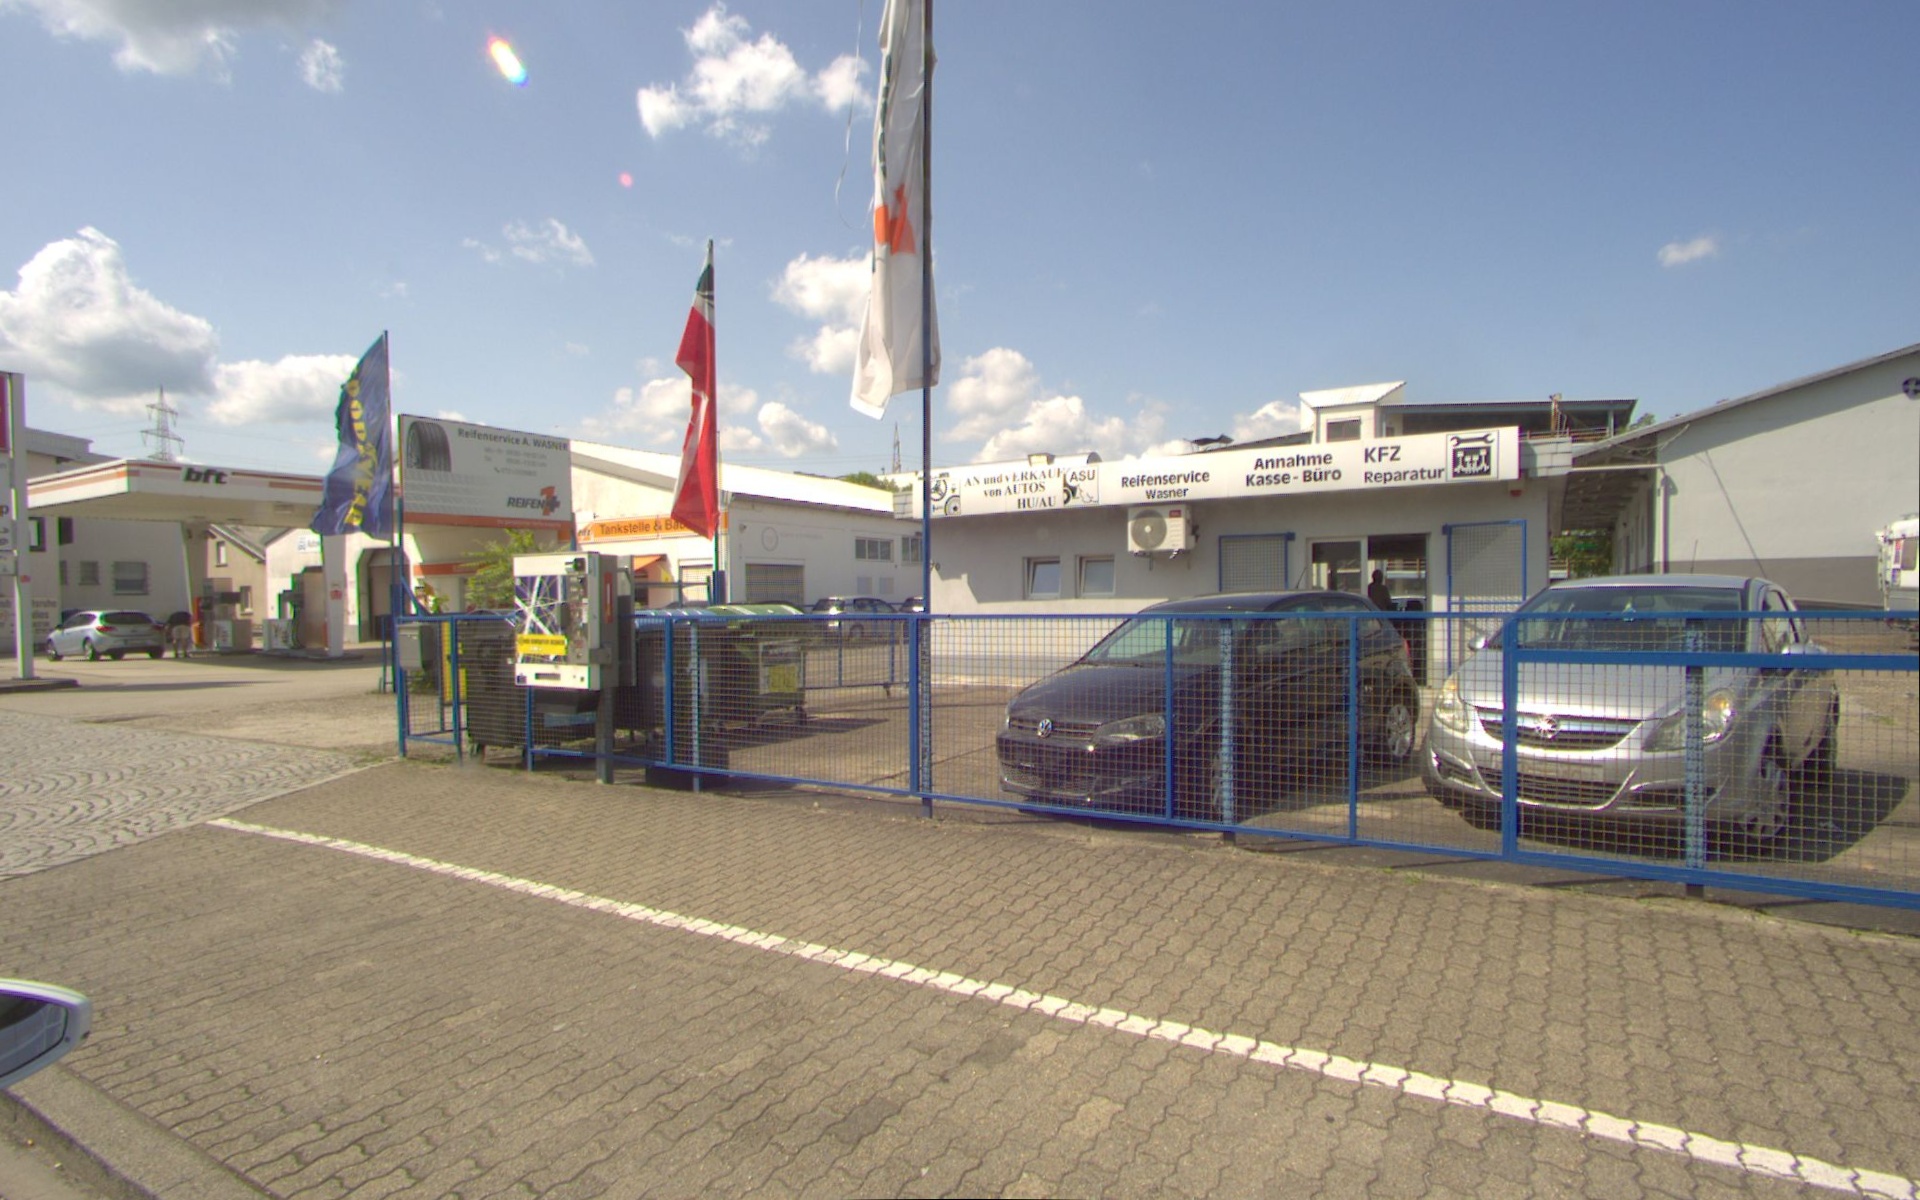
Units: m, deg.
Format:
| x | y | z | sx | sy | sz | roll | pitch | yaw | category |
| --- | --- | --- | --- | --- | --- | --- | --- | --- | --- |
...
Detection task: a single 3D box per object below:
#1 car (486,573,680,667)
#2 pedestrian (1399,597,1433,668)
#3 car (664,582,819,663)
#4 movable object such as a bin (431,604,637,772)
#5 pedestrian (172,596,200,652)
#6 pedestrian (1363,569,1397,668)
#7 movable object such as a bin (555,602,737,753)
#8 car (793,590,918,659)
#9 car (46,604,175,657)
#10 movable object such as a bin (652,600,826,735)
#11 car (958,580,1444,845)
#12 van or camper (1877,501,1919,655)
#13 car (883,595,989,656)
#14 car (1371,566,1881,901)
| x | y | z | sx | sy | sz | roll | pitch | yaw | category |
| --- | --- | --- | --- | --- | --- | --- | --- | --- | --- |
| -8.910 | 0.435 | 23.981 | 1.971 | 2.040 | 3.979 | 0 | 0 | 32 | car |
| 7.982 | 0.561 | 17.524 | 0.480 | 1.229 | 0.499 | 0 | 1 | 30 | pedestrian |
| -5.945 | 0.571 | 27.635 | 1.971 | 2.040 | 3.979 | 0 | 0 | 32 | car |
| -4.129 | 0.783 | 9.744 | 1.434 | 1.473 | 1.224 | 0 | 1 | 31 | movable object such as a bin |
| -23.737 | 0.729 | 30.714 | 0.628 | 1.705 | 0.618 | -1 | 1 | -36 | pedestrian |
| 7.395 | 0.326 | 17.627 | 0.480 | 1.710 | 0.499 | 0 | 1 | 30 | pedestrian |
| -3.368 | 0.774 | 10.784 | 1.434 | 1.473 | 1.224 | 0 | 1 | 31 | movable object such as a bin |
| -3.262 | 0.728 | 31.986 | 1.971 | 2.040 | 3.979 | 0 | 0 | 32 | car |
| -25.831 | 0.889 | 30.432 | 3.950 | 1.499 | 1.829 | -1 | 1 | 31 | car |
| -2.602 | 0.742 | 11.899 | 1.433 | 1.473 | 1.427 | 0 | 1 | 31 | movable object such as a bin |
| 2.018 | 0.625 | 7.647 | 3.962 | 1.499 | 1.705 | -1 | 1 | -43 | car |
| 21.350 | -0.459 | 19.321 | 4.983 | 3.002 | 2.276 | 0 | 1 | 31 | van or camper |
| -0.802 | 0.863 | 35.876 | 1.971 | 2.040 | 3.979 | 0 | 0 | 32 | car |
| 4.505 | 0.586 | 6.511 | 4.104 | 1.499 | 1.787 | -1 | 0 | -42 | car |
